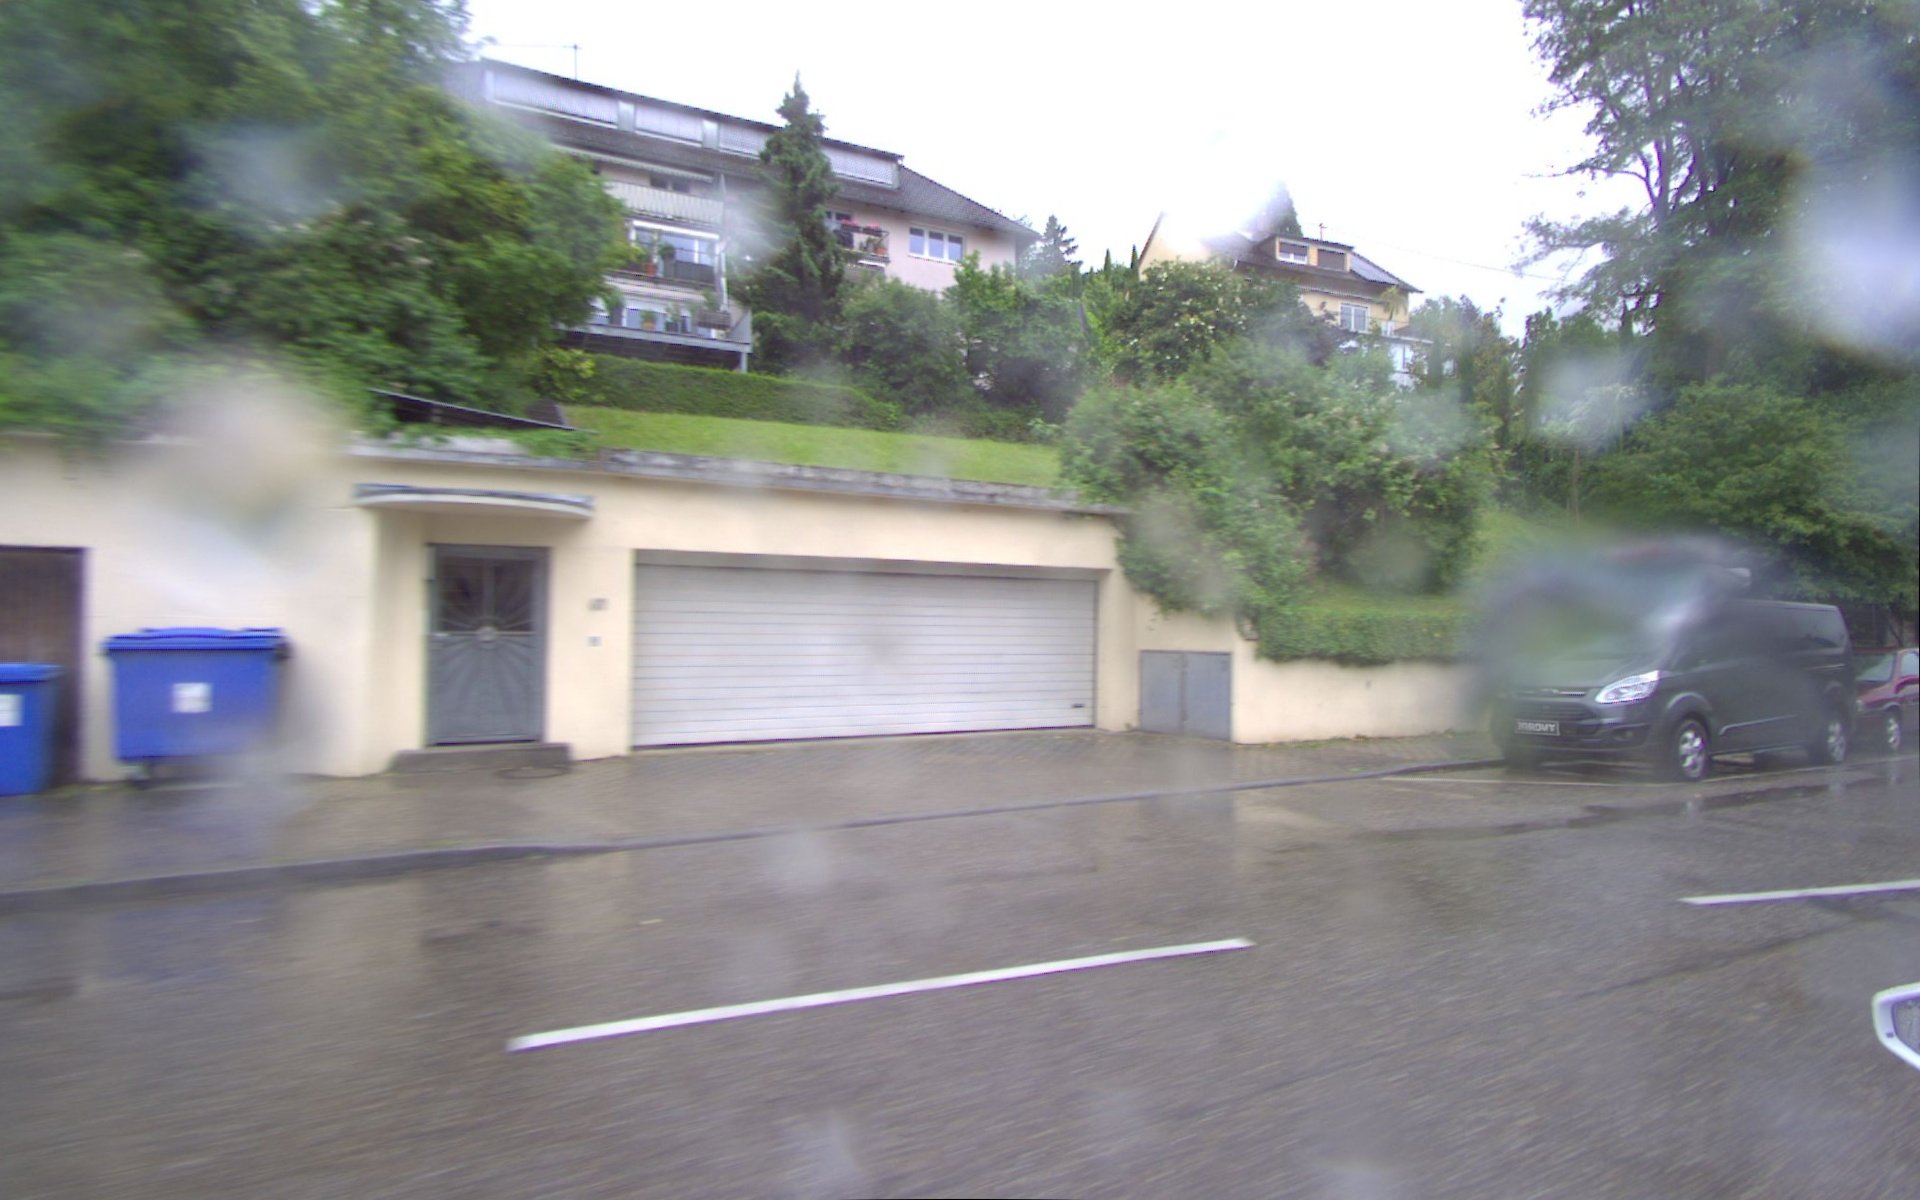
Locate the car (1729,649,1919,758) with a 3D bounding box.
[{"bbox_3d":[13.109,1.426,14.665,3.860,1.382,1.558,1,-4,-29],"label":"car"}]

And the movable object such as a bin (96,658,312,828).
[{"bbox_3d":[-6.628,1.213,8.906,1.383,1.332,0.818,0,-1,-26],"label":"movable object such as a bin"}]

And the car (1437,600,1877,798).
[{"bbox_3d":[8.416,1.052,12.049,5.256,1.944,2.150,1,-3,-28],"label":"car"}]

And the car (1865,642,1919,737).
[{"bbox_3d":[17.477,1.425,16.773,4.694,1.499,1.903,1,-5,-27],"label":"car"}]

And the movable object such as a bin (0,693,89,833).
[{"bbox_3d":[-7.786,1.336,8.375,0.599,1.056,0.733,1,-1,-25],"label":"movable object such as a bin"}]
